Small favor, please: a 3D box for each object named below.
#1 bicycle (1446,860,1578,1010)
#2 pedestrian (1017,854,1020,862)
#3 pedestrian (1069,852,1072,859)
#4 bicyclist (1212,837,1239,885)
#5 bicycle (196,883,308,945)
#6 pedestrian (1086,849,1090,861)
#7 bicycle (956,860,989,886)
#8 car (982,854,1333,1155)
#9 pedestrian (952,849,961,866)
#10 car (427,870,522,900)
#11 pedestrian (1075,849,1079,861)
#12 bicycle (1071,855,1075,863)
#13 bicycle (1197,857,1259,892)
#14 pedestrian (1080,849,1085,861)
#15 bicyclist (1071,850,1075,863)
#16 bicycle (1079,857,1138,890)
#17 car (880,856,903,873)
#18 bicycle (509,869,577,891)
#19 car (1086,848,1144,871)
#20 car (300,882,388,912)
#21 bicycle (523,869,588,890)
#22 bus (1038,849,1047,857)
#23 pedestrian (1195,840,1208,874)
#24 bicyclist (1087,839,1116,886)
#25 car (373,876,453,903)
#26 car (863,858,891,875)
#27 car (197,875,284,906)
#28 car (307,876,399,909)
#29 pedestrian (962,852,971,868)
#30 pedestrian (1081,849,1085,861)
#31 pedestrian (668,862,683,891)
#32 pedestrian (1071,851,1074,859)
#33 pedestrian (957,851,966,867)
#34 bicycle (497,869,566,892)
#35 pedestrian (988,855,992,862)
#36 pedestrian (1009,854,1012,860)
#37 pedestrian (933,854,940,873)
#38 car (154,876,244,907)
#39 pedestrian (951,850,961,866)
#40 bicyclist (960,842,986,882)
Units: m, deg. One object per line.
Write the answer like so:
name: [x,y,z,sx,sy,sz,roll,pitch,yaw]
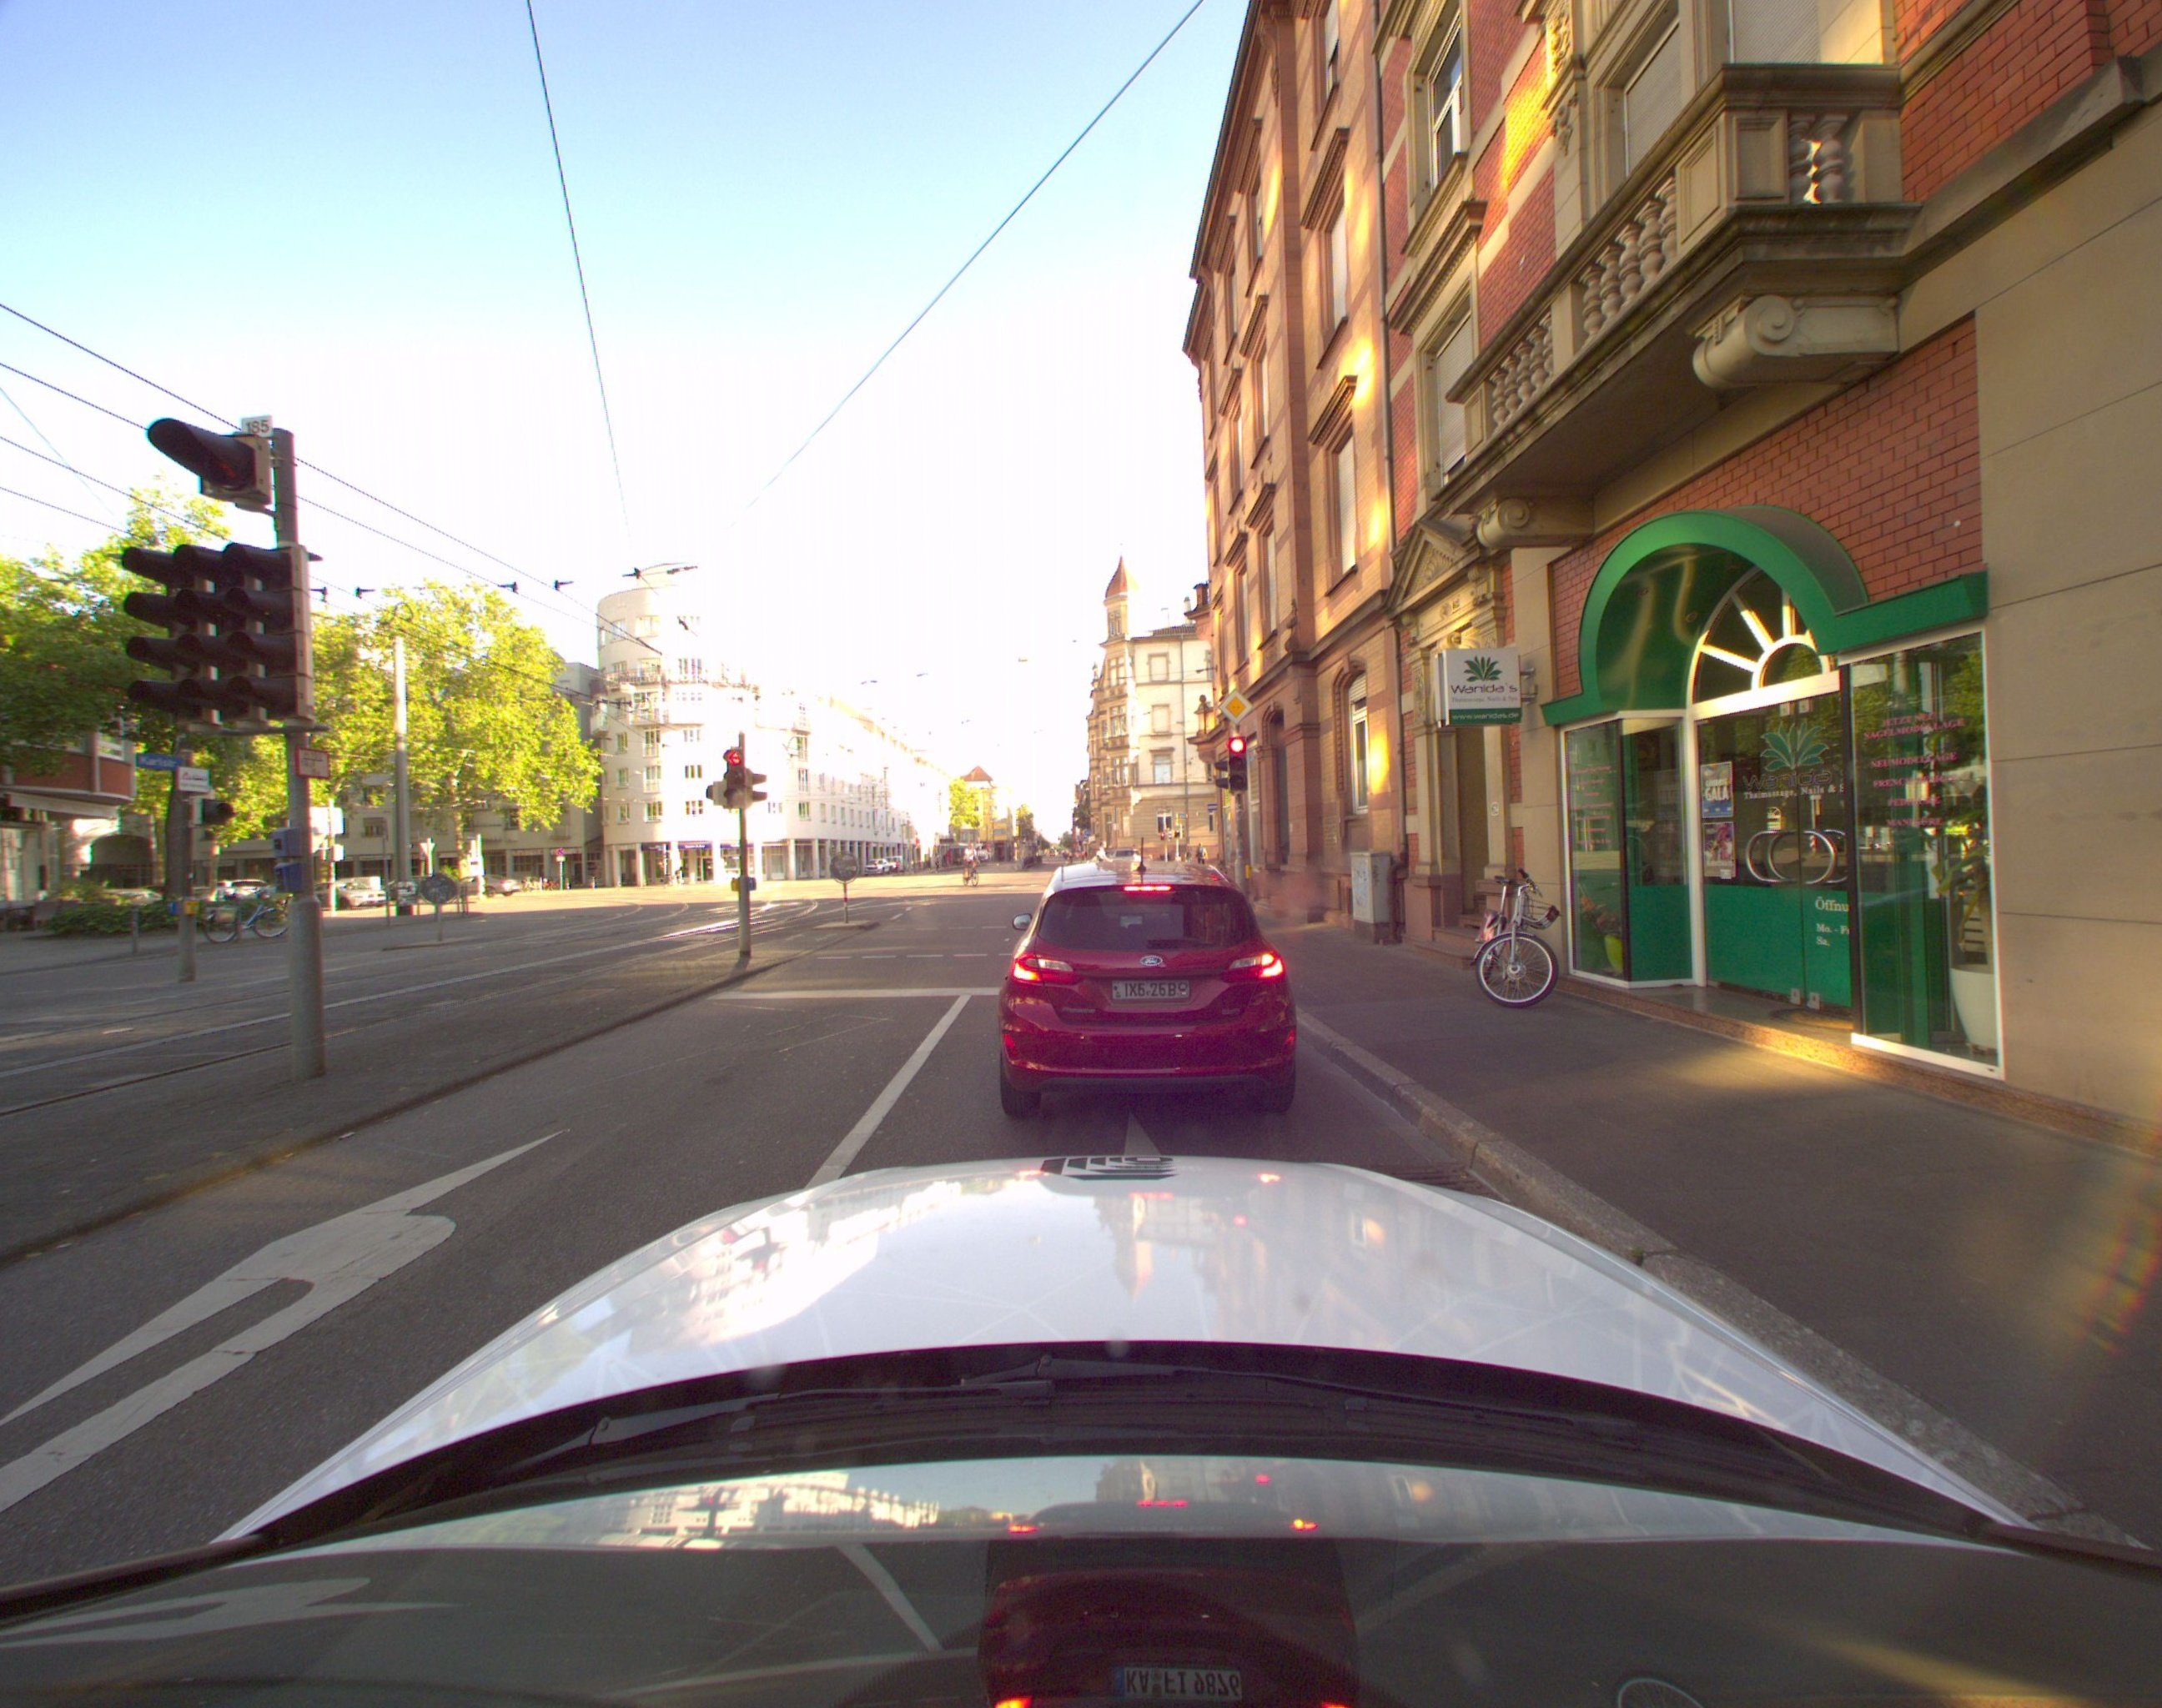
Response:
bicycle: [3.866,0.678,7.441,0.710,1.152,1.662,-4,0,17]
pedestrian: [-12.273,0.733,160.498,0.522,1.488,0.583,-2,0,1]
pedestrian: [-2.687,0.337,204.391,0.575,1.887,0.669,-2,0,-1]
bicyclist: [4.984,0.229,28.132,0.729,1.627,0.763,0,-1,-8]
bicycle: [-19.757,1.391,19.468,0.668,1.327,1.907,1,0,2]
pedestrian: [1.102,0.166,134.741,0.574,2.013,0.632,-2,0,5]
bicycle: [-5.081,0.868,38.004,0.813,1.147,1.991,-2,0,-30]
car: [0.306,0.742,6.037,1.750,1.466,3.941,-1,0,-3]
pedestrian: [-15.820,0.440,103.481,1.043,2.013,0.958,-2,0,-3]
car: [-37.756,1.922,50.795,4.438,1.641,1.700,-2,0,-6]
pedestrian: [-0.627,0.215,139.032,0.574,2.013,0.632,-2,0,5]
bicycle: [-1.066,0.659,109.071,0.524,1.089,1.487,-2,0,1]
bicycle: [5.075,0.707,28.140,2.017,1.177,0.626,-1,-1,-9]
pedestrian: [0.246,0.177,134.507,0.574,2.013,0.632,-2,0,5]
bicyclist: [-1.077,0.367,109.004,0.498,1.676,0.545,-2,0,0]
bicycle: [1.029,0.735,30.722,2.024,1.147,0.815,-2,0,24]
car: [-20.477,1.083,88.056,1.696,1.718,3.562,-2,0,-1]
bicycle: [-42.847,2.052,64.881,4.685,1.530,1.067,-2,0,2]
car: [2.471,0.388,59.271,3.864,1.549,1.461,-2,0,18]
car: [-36.924,2.155,40.810,3.968,1.295,1.781,-2,0,24]
bicycle: [-42.852,2.060,66.433,4.685,1.530,1.067,-2,0,2]
bus: [-10.275,-0.332,217.742,1.919,2.013,7.137,-2,0,1]
pedestrian: [6.411,0.166,43.424,0.558,1.755,0.650,-3,0,1]
bicyclist: [0.779,0.318,30.813,0.784,1.726,0.815,-2,0,23]
car: [-44.182,2.324,53.927,3.969,1.531,1.618,-2,0,4]
car: [-20.152,1.214,80.571,1.760,1.546,3.460,-2,0,0]
car: [-60.407,2.603,58.609,1.986,1.964,4.001,-2,0,1]
car: [-40.246,2.122,45.043,3.978,1.559,1.636,-2,0,11]
pedestrian: [-14.517,0.761,103.393,1.043,2.013,0.958,-2,0,-3]
pedestrian: [0.278,0.203,139.219,0.574,2.013,0.632,-2,0,5]
pedestrian: [-29.638,1.643,59.510,0.949,2.013,0.931,-2,0,-29]
pedestrian: [-2.153,0.259,200.961,0.575,1.887,0.630,-2,0,-1]
pedestrian: [-15.489,0.653,105.382,1.043,2.013,0.958,-2,0,-3]
bicycle: [-43.009,2.071,63.744,4.685,1.530,1.067,-2,0,2]
pedestrian: [-18.132,0.854,161.975,0.579,1.488,0.525,-2,0,-3]
pedestrian: [-17.064,0.726,197.400,0.630,1.604,0.575,-2,0,-18]
pedestrian: [-13.107,0.861,73.902,0.521,1.681,0.487,-2,0,5]
car: [-63.326,2.694,58.593,1.986,1.964,4.001,-2,0,1]
pedestrian: [-15.544,0.486,101.207,0.953,2.013,1.048,-2,0,-1]
bicyclist: [-5.037,0.364,37.896,0.813,1.821,0.984,-2,0,-30]
